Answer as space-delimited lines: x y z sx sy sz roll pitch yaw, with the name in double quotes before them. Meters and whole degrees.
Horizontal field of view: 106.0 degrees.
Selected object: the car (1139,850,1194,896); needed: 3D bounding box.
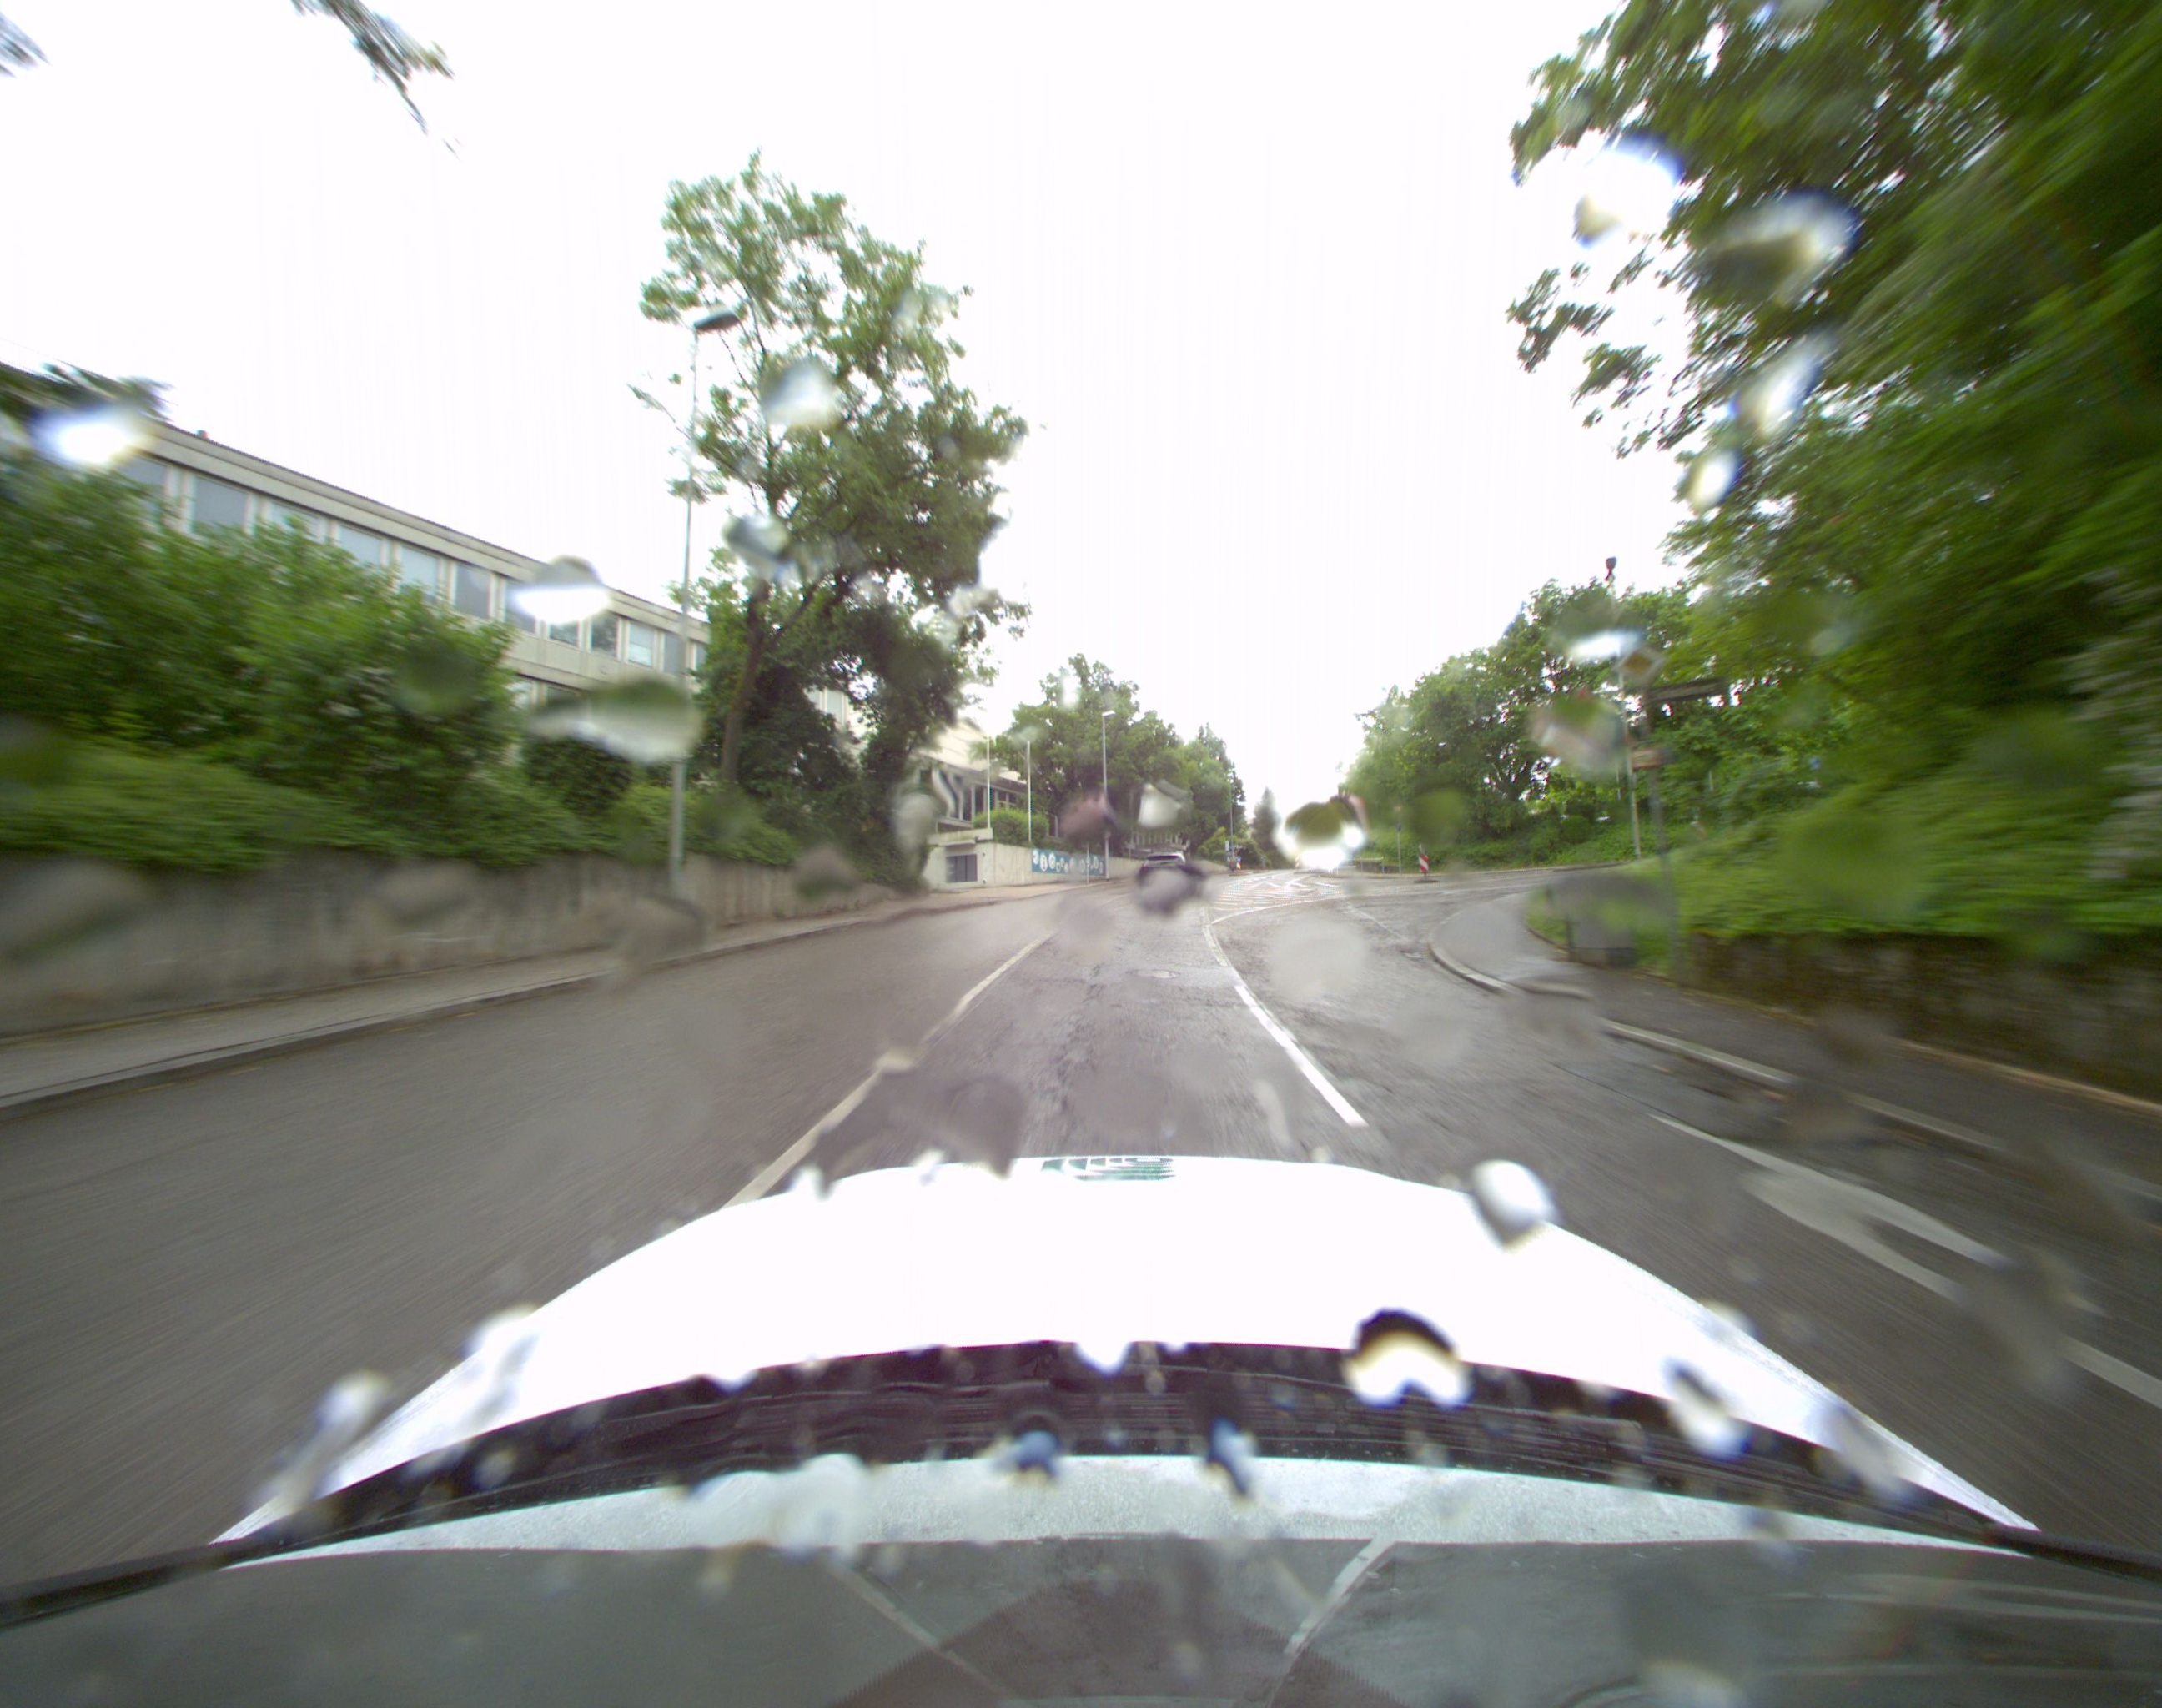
"car" 3.316 0.693 31.201 1.918 1.613 4.008 -1 0 7
